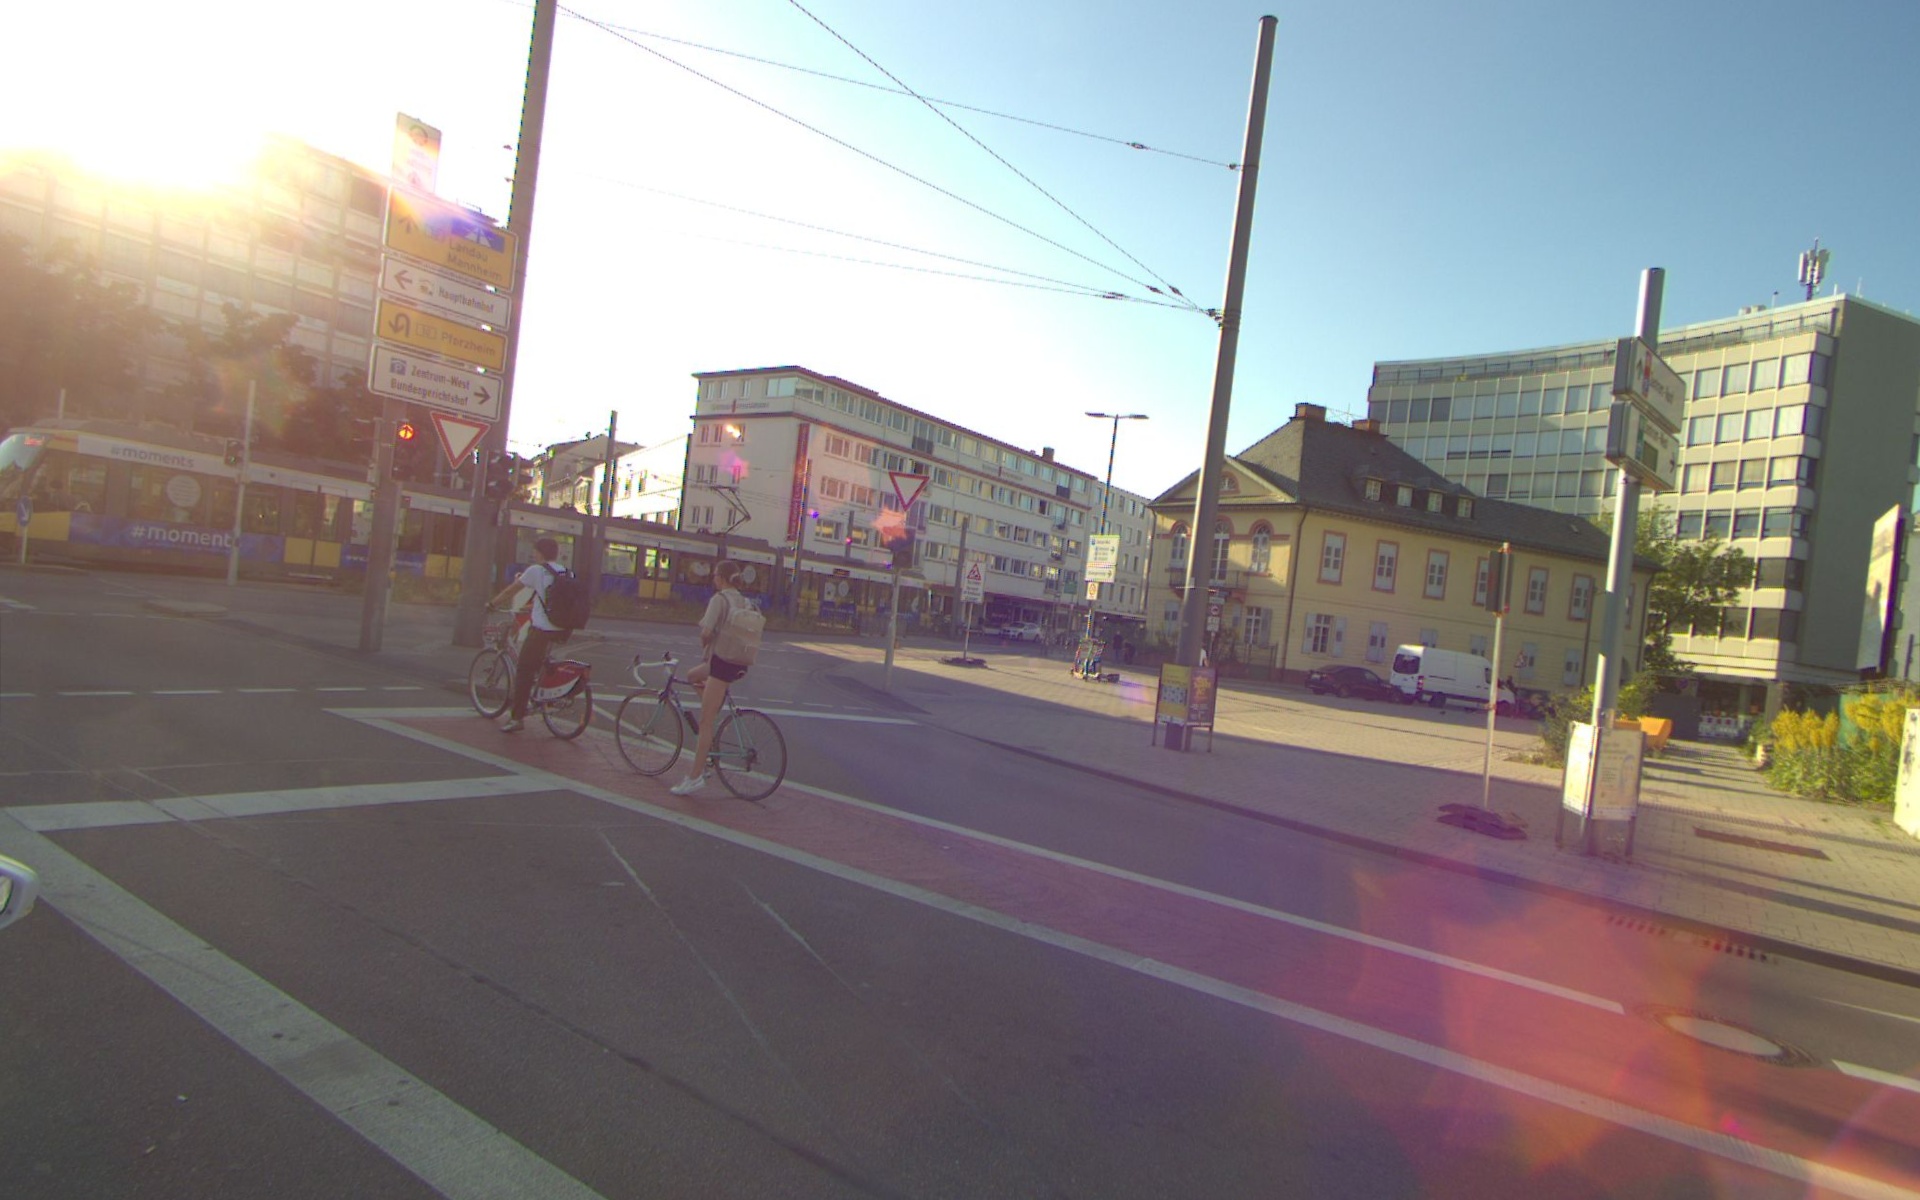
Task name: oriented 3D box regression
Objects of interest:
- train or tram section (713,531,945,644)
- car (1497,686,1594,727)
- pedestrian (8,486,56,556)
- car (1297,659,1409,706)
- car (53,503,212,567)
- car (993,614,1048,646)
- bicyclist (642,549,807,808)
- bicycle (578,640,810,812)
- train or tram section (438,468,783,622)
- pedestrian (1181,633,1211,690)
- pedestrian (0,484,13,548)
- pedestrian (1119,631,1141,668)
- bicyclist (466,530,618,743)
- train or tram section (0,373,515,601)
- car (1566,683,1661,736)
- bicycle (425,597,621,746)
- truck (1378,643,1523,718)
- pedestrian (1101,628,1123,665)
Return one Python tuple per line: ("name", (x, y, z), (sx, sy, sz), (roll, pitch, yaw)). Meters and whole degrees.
("train or tram section", (-6.011, -0.385, 50.031), (3.655, 3.877, 12.960), (6, -2, 32))
("car", (27.096, 4.930, 46.588), (3.706, 1.380, 1.709), (8, -2, -17))
("pedestrian", (-25.745, -2.188, 27.906), (1.027, 1.814, 0.695), (6, -1, 41))
("car", (16.625, 3.486, 42.591), (4.133, 1.380, 1.709), (8, -2, -17))
("car", (-30.306, -2.345, 36.945), (1.816, 1.636, 4.071), (6, -2, 36))
("car", (5.041, 2.514, 83.389), (1.970, 2.036, 4.858), (6, -2, 38))
("bicyclist", (-1.745, 0.567, 7.482), (0.778, 1.766, 0.615), (7, -1, 27))
("bicycle", (-2.038, 0.918, 7.645), (1.664, 1.013, 0.543), (6, -1, 27))
("train or tram section", (-12.817, -1.801, 39.118), (3.654, 3.877, 12.962), (6, -2, 32))
("pedestrian", (7.874, 2.054, 33.529), (0.746, 1.783, 1.009), (7, -1, 16))
("pedestrian", (-26.384, -2.331, 27.260), (1.026, 1.702, 0.696), (6, -1, 35))
("pedestrian", (8.094, 2.358, 47.921), (0.802, 1.661, 0.687), (7, -1, 8))
("bicyclist", (-3.812, 0.321, 9.174), (1.042, 1.789, 0.543), (7, -1, 27))
("train or tram section", (-18.859, -2.474, 27.350), (3.647, 3.880, 13.359), (6, -1, 22))
("car", (31.154, 5.208, 47.976), (3.706, 2.003, 1.709), (8, -2, -17))
("bicycle", (-4.035, 0.635, 9.249), (1.777, 1.113, 0.543), (6, -1, 27))
("truck", (21.835, 3.580, 44.806), (5.556, 2.578, 2.294), (8, -2, -17))
("pedestrian", (7.240, 2.211, 47.953), (0.802, 1.661, 0.687), (7, -1, 8))
